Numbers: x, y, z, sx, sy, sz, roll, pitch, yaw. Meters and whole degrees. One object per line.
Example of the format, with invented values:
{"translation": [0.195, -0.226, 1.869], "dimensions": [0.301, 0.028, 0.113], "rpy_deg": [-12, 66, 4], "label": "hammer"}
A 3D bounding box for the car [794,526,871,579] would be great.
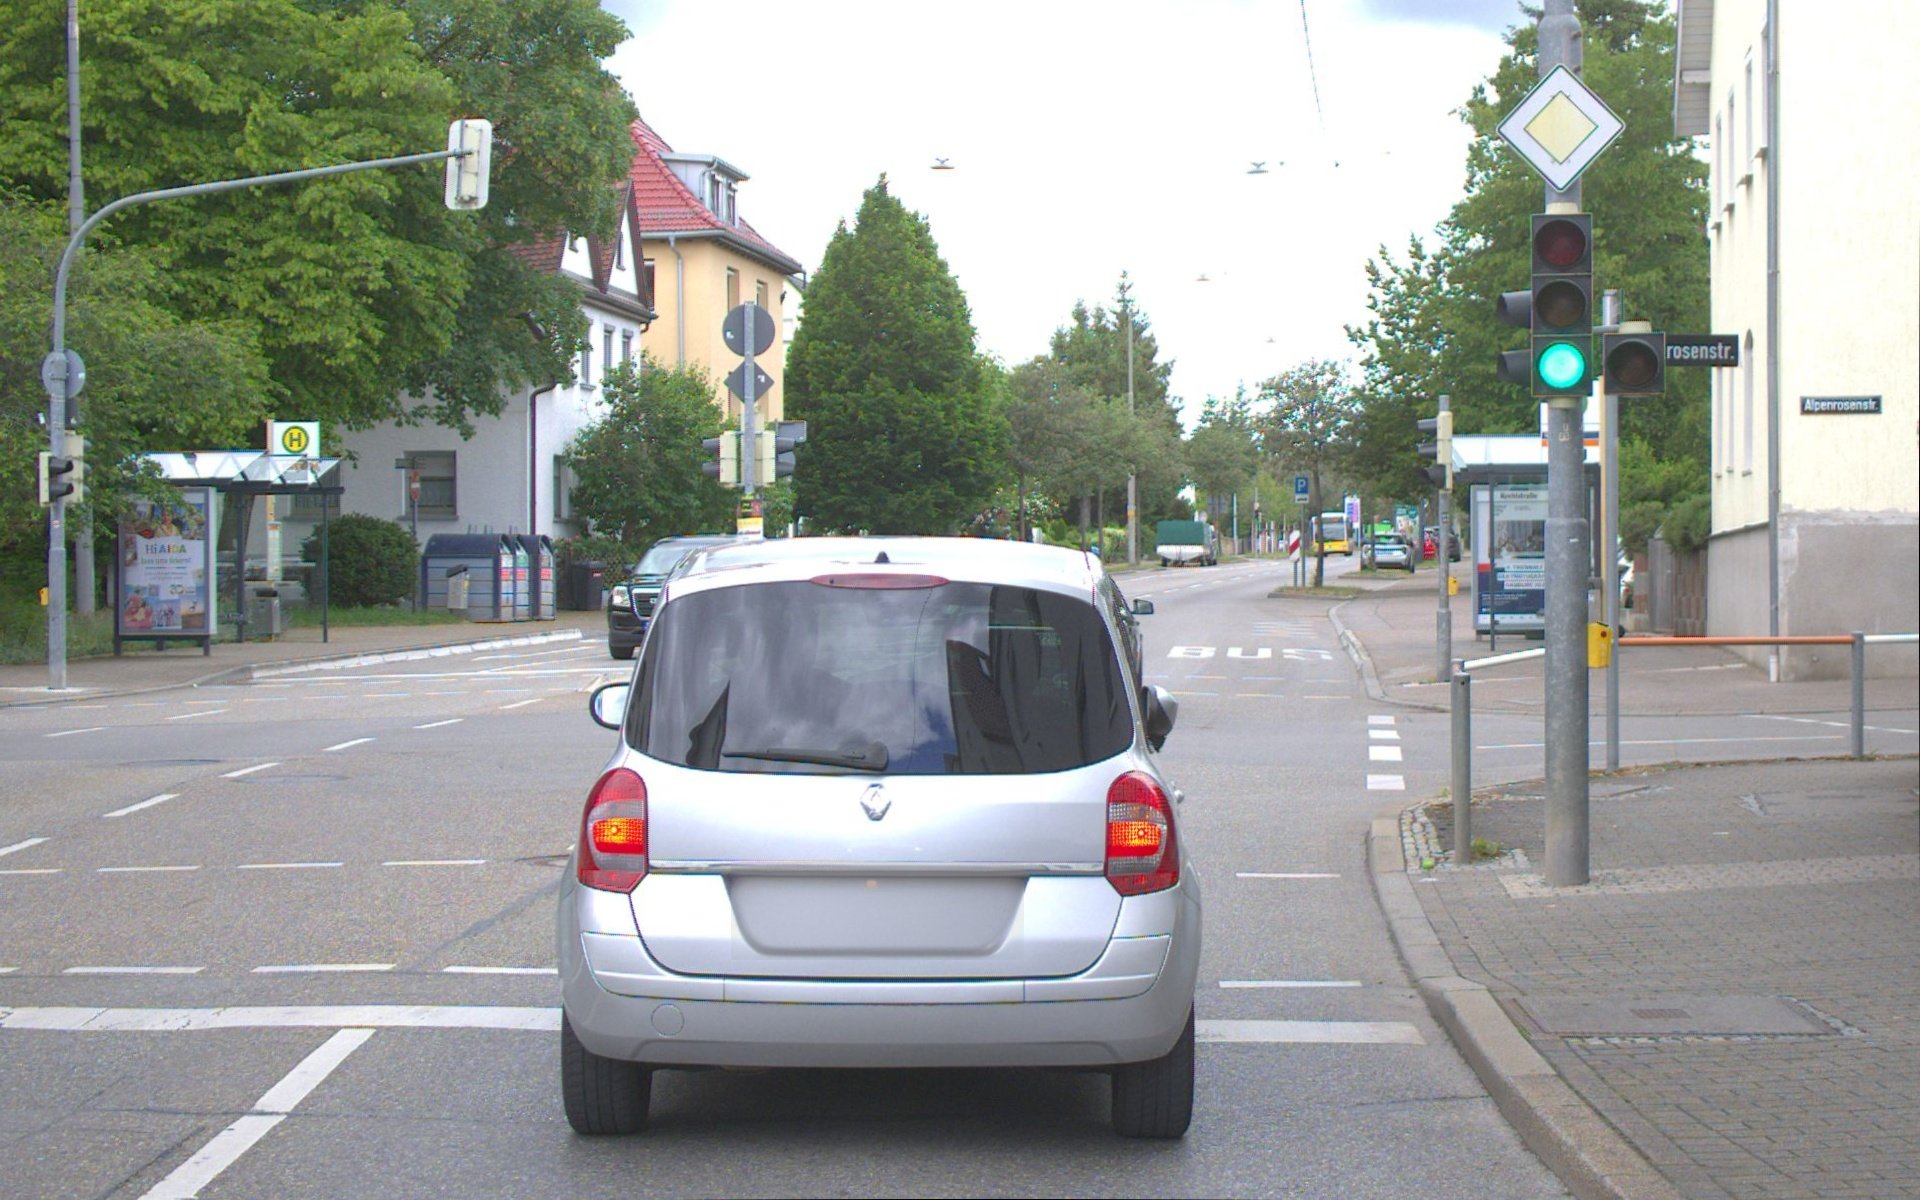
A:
{"translation": [-4.041, -1.534, 109.696], "dimensions": [1.806, 1.559, 4.617], "rpy_deg": [-2, 1, 6], "label": "car"}

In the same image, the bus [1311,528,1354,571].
{"translation": [27.572, -3.764, 254.087], "dimensions": [2.633, 3.075, 12.066], "rpy_deg": [-2, 1, 8], "label": "bus"}

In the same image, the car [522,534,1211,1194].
{"translation": [-0.179, 0.624, 10.278], "dimensions": [1.630, 1.551, 4.000], "rpy_deg": [1, 0, 1], "label": "car"}

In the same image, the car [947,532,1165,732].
{"translation": [0.894, 0.248, 30.810], "dimensions": [1.829, 1.670, 3.574], "rpy_deg": [0, 1, 3], "label": "car"}

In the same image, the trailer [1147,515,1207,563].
{"translation": [10.090, -2.807, 159.652], "dimensions": [2.313, 2.079, 5.871], "rpy_deg": [1, 0, 8], "label": "trailer"}

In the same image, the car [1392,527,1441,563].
{"translation": [18.239, -2.205, 137.213], "dimensions": [1.663, 1.388, 3.666], "rpy_deg": [0, 1, 12], "label": "car"}

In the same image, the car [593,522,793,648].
{"translation": [-3.685, -0.196, 48.228], "dimensions": [1.759, 1.629, 4.593], "rpy_deg": [-2, 0, 9], "label": "car"}

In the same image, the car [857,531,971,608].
{"translation": [-0.844, -0.574, 65.719], "dimensions": [1.564, 1.415, 4.129], "rpy_deg": [0, 0, 8], "label": "car"}

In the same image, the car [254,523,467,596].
{"translation": [-12.454, -0.825, 71.483], "dimensions": [3.988, 1.327, 1.722], "rpy_deg": [-2, 0, 8], "label": "car"}

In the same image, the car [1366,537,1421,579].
{"translation": [14.956, -1.432, 118.513], "dimensions": [1.651, 1.378, 3.998], "rpy_deg": [0, 0, 10], "label": "car"}

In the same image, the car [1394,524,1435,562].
{"translation": [18.721, -2.351, 141.652], "dimensions": [1.663, 1.559, 4.097], "rpy_deg": [0, 1, 7], "label": "car"}
